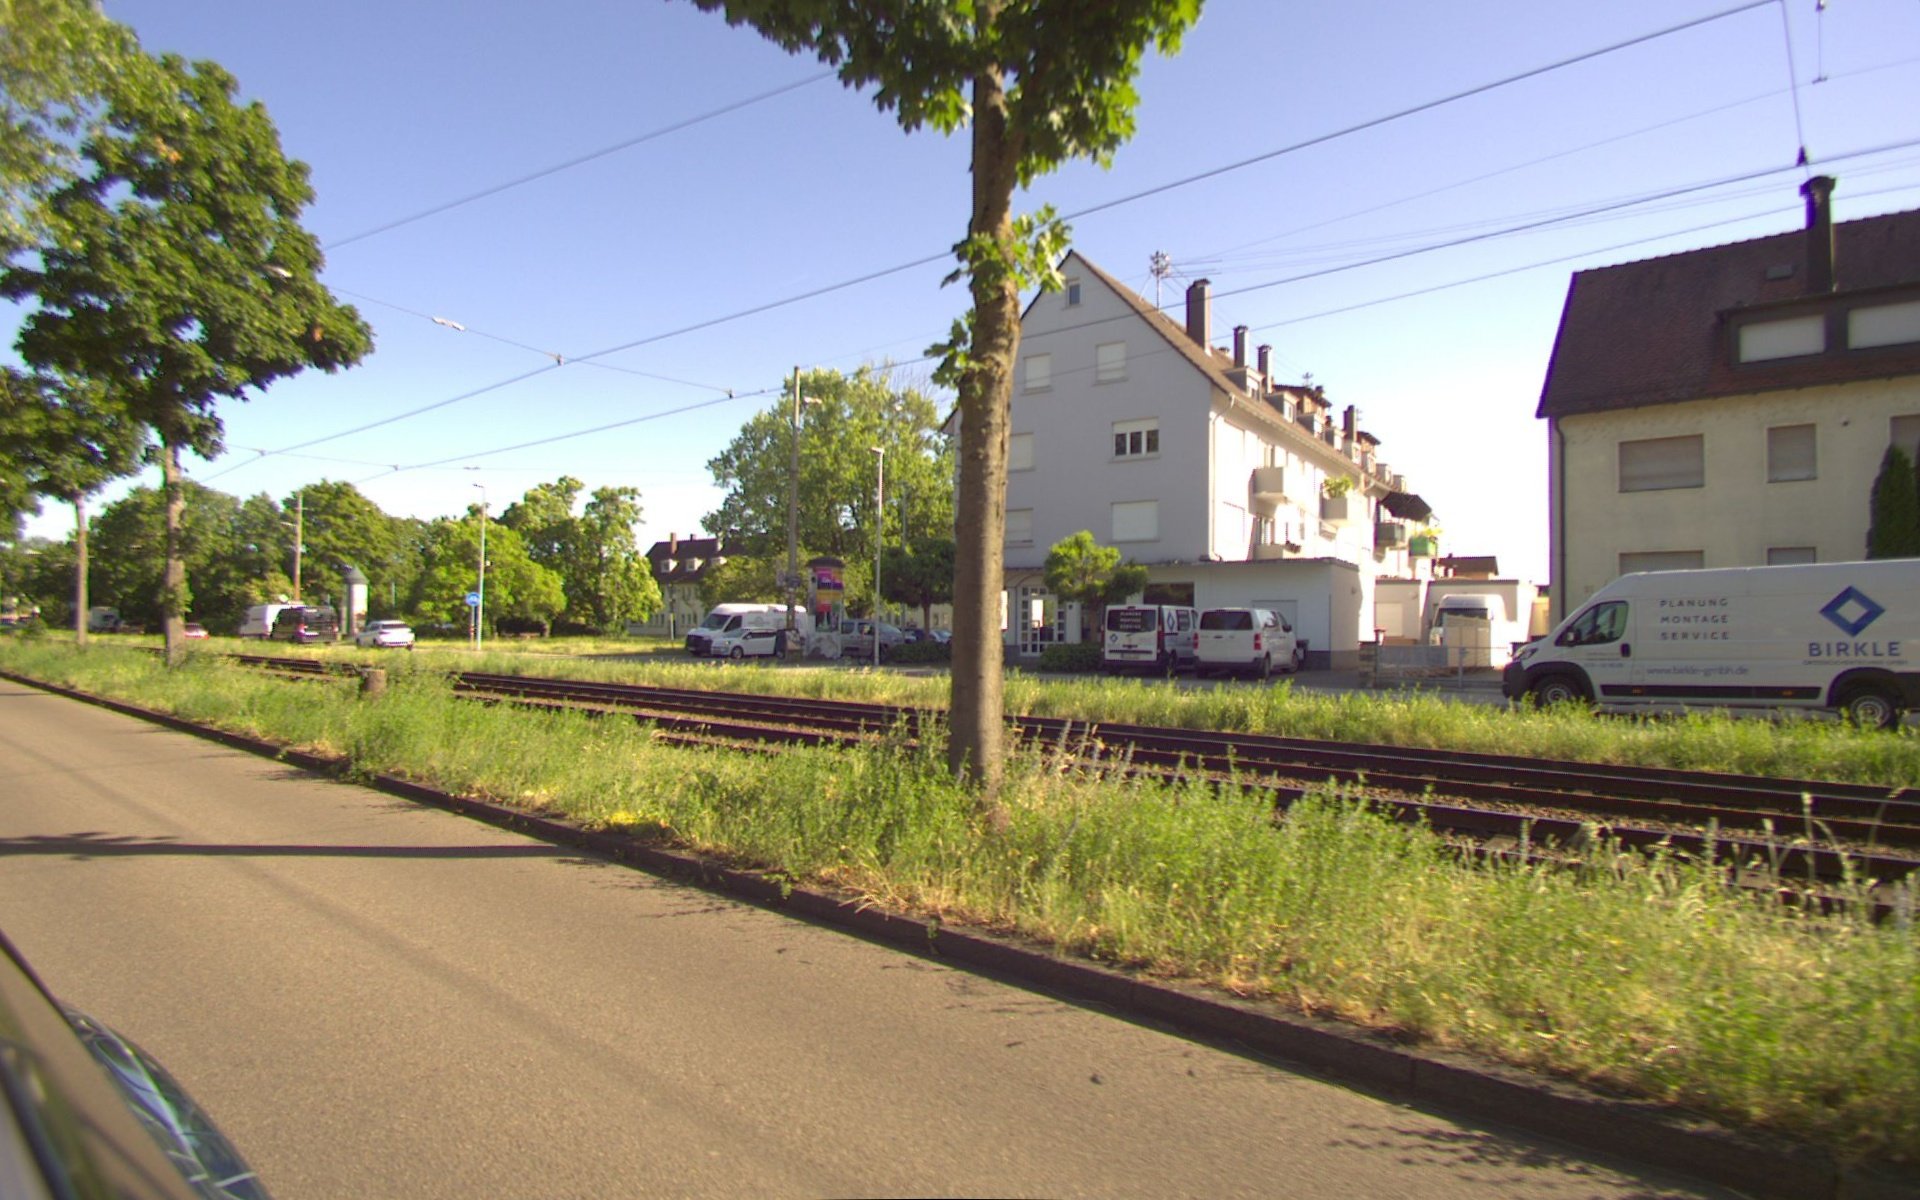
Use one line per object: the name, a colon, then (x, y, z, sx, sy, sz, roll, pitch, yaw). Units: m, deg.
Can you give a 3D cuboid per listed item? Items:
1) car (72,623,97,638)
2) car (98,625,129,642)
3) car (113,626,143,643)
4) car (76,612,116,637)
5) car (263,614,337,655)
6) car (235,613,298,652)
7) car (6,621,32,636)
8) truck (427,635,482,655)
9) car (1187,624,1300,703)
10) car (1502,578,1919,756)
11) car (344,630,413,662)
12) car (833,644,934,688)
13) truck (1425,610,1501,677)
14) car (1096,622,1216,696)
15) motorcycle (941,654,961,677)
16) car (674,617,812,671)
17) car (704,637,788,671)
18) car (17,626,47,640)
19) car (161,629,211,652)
car: (-99.198, 3.460, 114.638, 4.282, 1.575, 1.748, -1, -2, 43)
car: (-84.788, 3.351, 101.334, 4.530, 1.635, 1.605, -1, -2, 41)
car: (-79.462, 3.304, 96.617, 4.248, 1.596, 1.656, -1, -2, 43)
car: (-90.623, 2.574, 106.116, 6.795, 2.600, 2.202, -2, -2, 41)
car: (-41.138, 2.110, 63.021, 6.462, 2.394, 2.160, -1, -2, 41)
car: (-46.917, 2.182, 68.369, 6.133, 2.515, 1.981, -1, -2, 41)
car: (-114.482, 3.461, 123.126, 4.979, 1.757, 1.791, -1, -2, 41)
truck: (-50.677, 4.526, 101.564, 2.069, 1.883, 4.907, 0, -1, 21)
car: (7.774, 1.652, 27.516, 1.992, 1.967, 4.108, -1, -2, 30)
car: (12.560, 0.964, 16.098, 6.670, 2.478, 1.973, -1, -2, 41)
car: (-31.355, 2.460, 54.538, 4.772, 1.619, 1.803, -1, -2, 42)
car: (-3.285, 2.787, 43.381, 4.087, 1.683, 1.781, -1, -1, 33)
truck: (18.406, 1.527, 36.937, 1.865, 2.307, 3.951, -1, -2, 36)
car: (5.716, 1.634, 29.071, 1.992, 1.960, 4.584, -1, -2, 30)
motorcycle: (-0.351, 2.527, 39.279, 0.310, 0.859, 0.883, -1, -3, 33)
car: (-10.655, 2.146, 50.407, 2.326, 2.526, 7.001, -2, -2, 36)
car: (-9.843, 2.485, 46.730, 1.747, 1.489, 3.581, -1, -3, 36)
car: (-100.435, 3.558, 109.535, 3.750, 1.543, 1.972, -1, -3, 42)
car: (-48.497, 2.524, 63.380, 3.998, 1.420, 1.659, -1, -3, 41)
